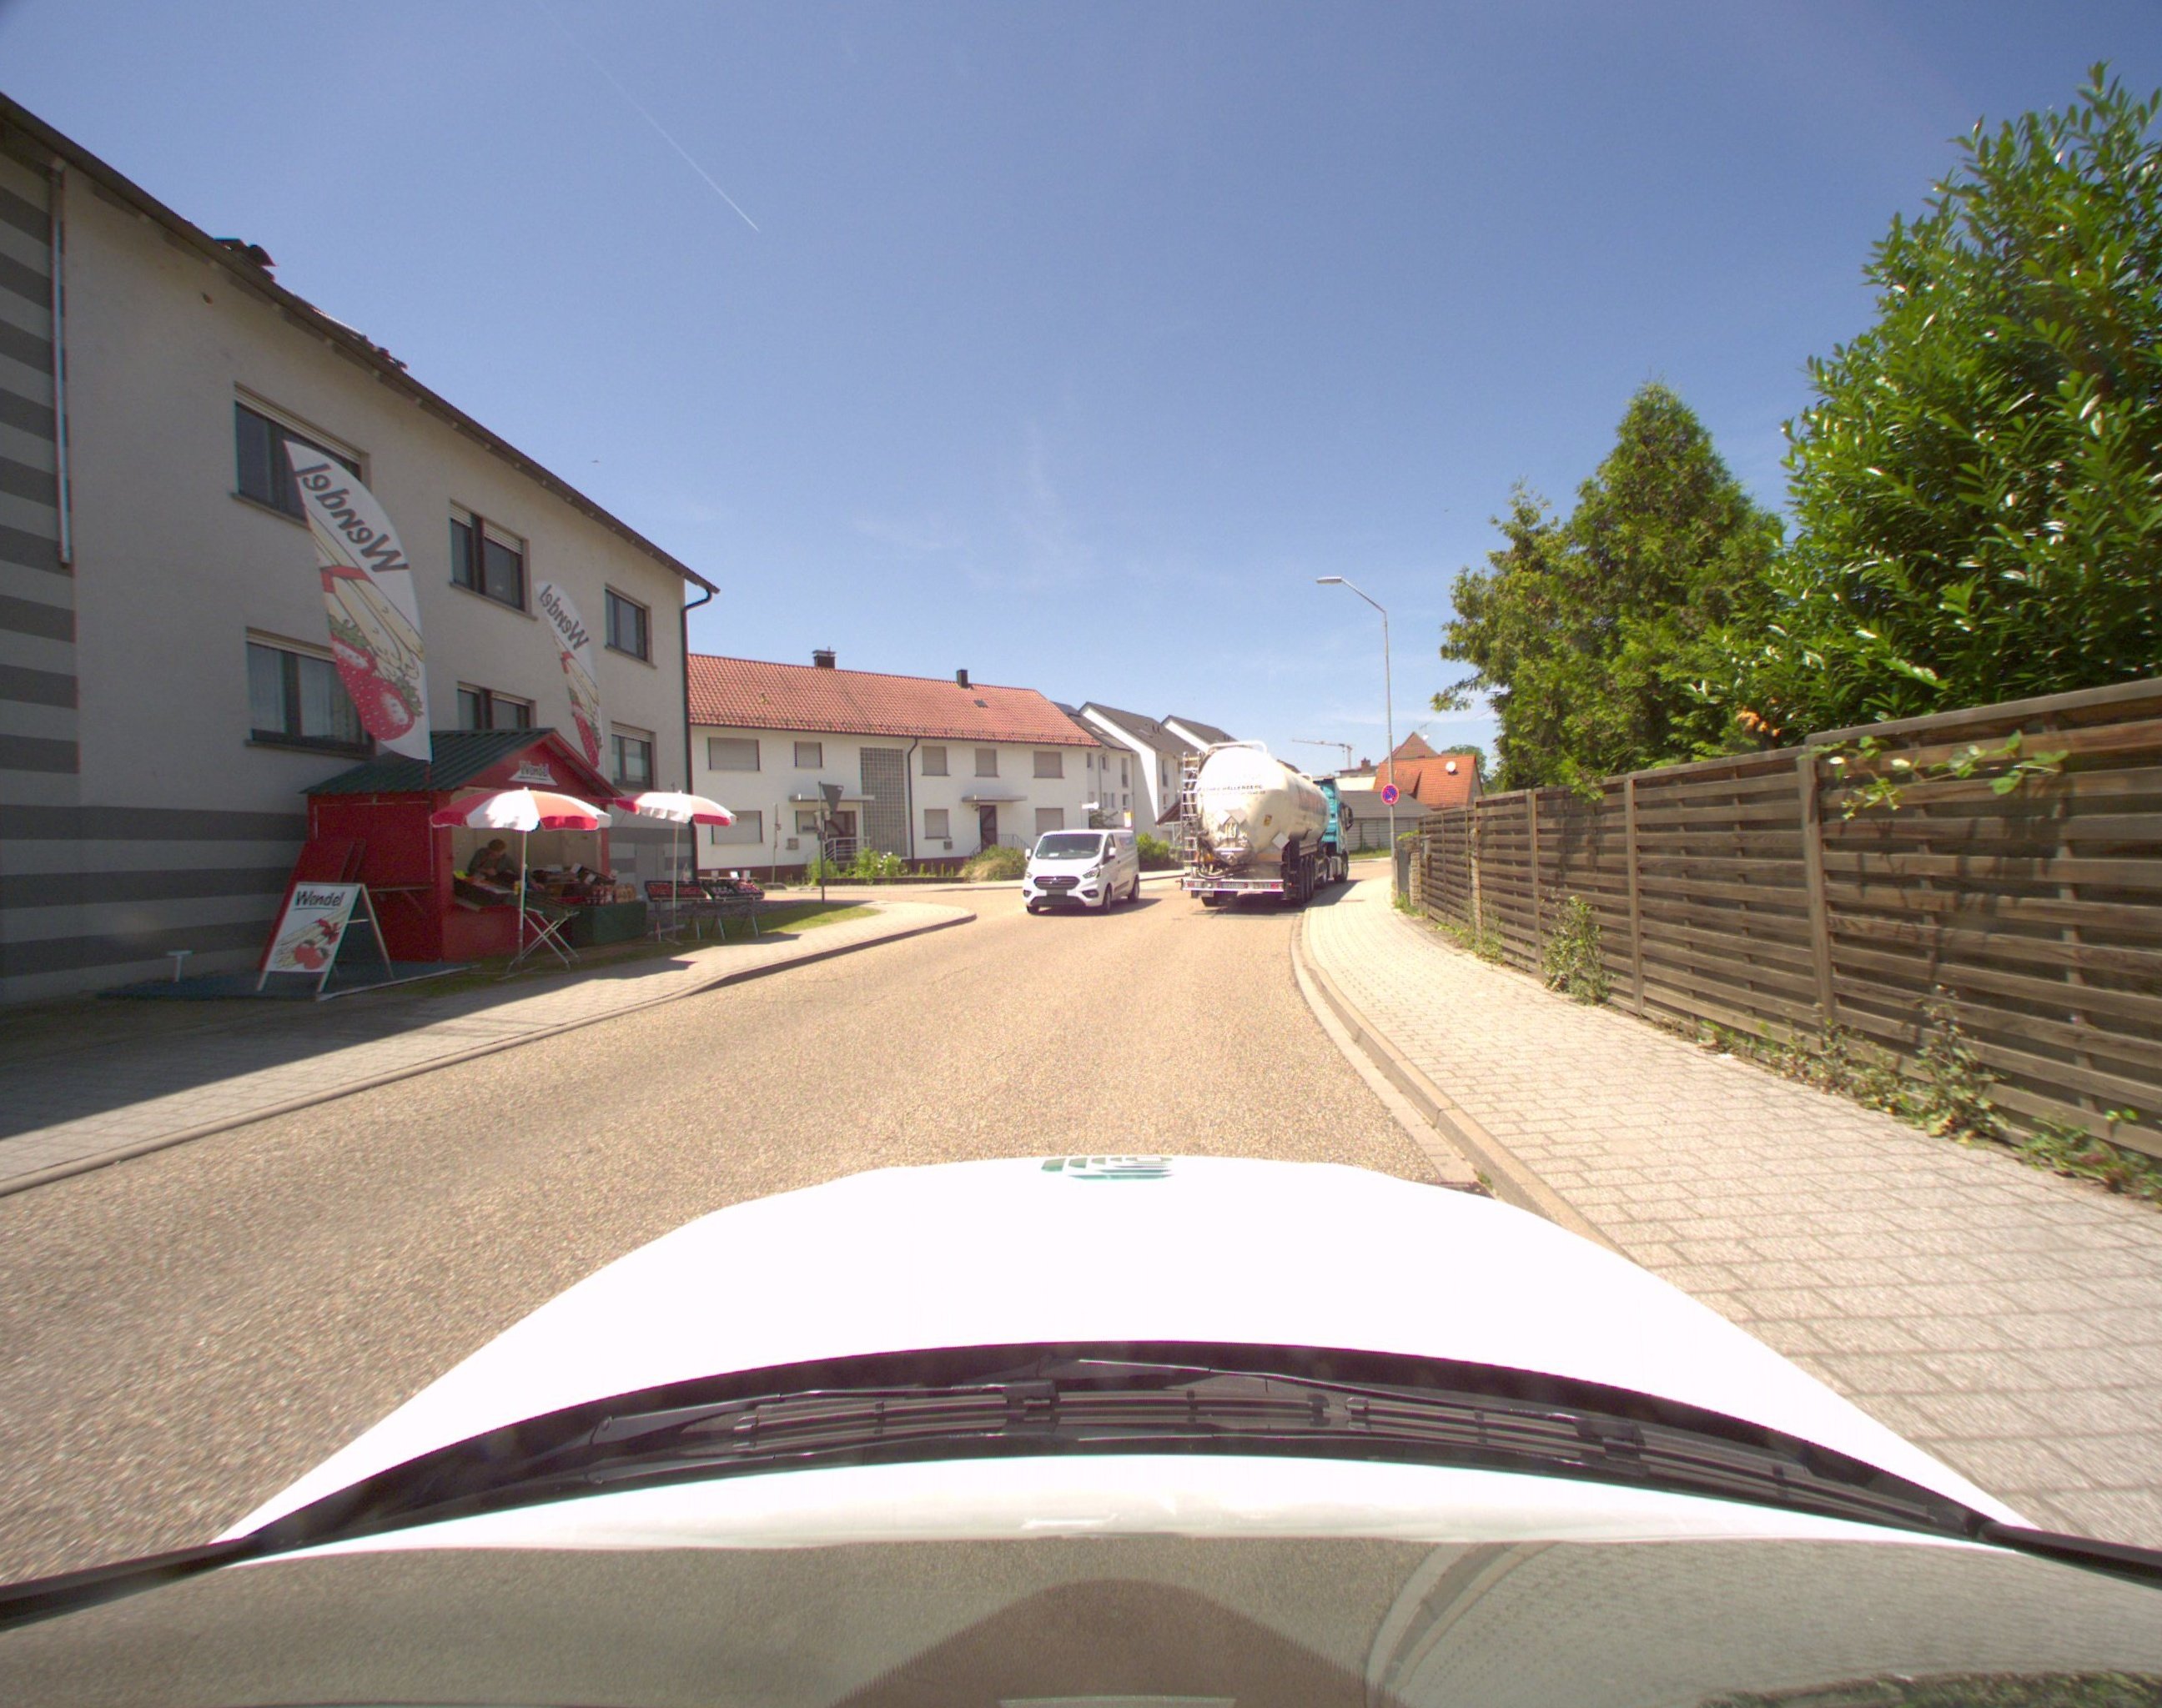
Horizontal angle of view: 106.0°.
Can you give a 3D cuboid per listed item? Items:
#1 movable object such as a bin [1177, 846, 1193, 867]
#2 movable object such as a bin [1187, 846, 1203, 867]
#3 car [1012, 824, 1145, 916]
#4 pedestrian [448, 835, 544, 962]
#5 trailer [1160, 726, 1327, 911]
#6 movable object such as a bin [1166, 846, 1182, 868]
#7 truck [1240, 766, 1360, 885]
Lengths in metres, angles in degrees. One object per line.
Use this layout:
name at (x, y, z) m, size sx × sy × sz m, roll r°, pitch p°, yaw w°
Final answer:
movable object such as a bin at (6.322, 0.162, 49.591) m, size 0.634 × 1.278 × 0.698 m, roll -1°, pitch 1°, yaw 44°
movable object such as a bin at (6.850, 0.142, 49.088) m, size 0.634 × 1.278 × 0.698 m, roll -1°, pitch 1°, yaw 44°
car at (0.114, 0.295, 20.538) m, size 1.978 × 1.999 × 5.236 m, roll 0°, pitch 1°, yaw 16°
pedestrian at (-7.690, 0.560, 10.716) m, size 0.605 × 1.587 × 0.814 m, roll -2°, pitch 0°, yaw 33°
trailer at (5.193, -0.814, 23.443) m, size 2.928 × 3.947 × 11.677 m, roll -2°, pitch 0°, yaw 20°
movable object such as a bin at (5.713, 0.182, 50.110) m, size 0.634 × 1.278 × 0.698 m, roll -1°, pitch 1°, yaw 44°
truck at (8.357, -0.985, 30.588) m, size 2.959 × 3.965 × 5.613 m, roll -2°, pitch 0°, yaw 29°
